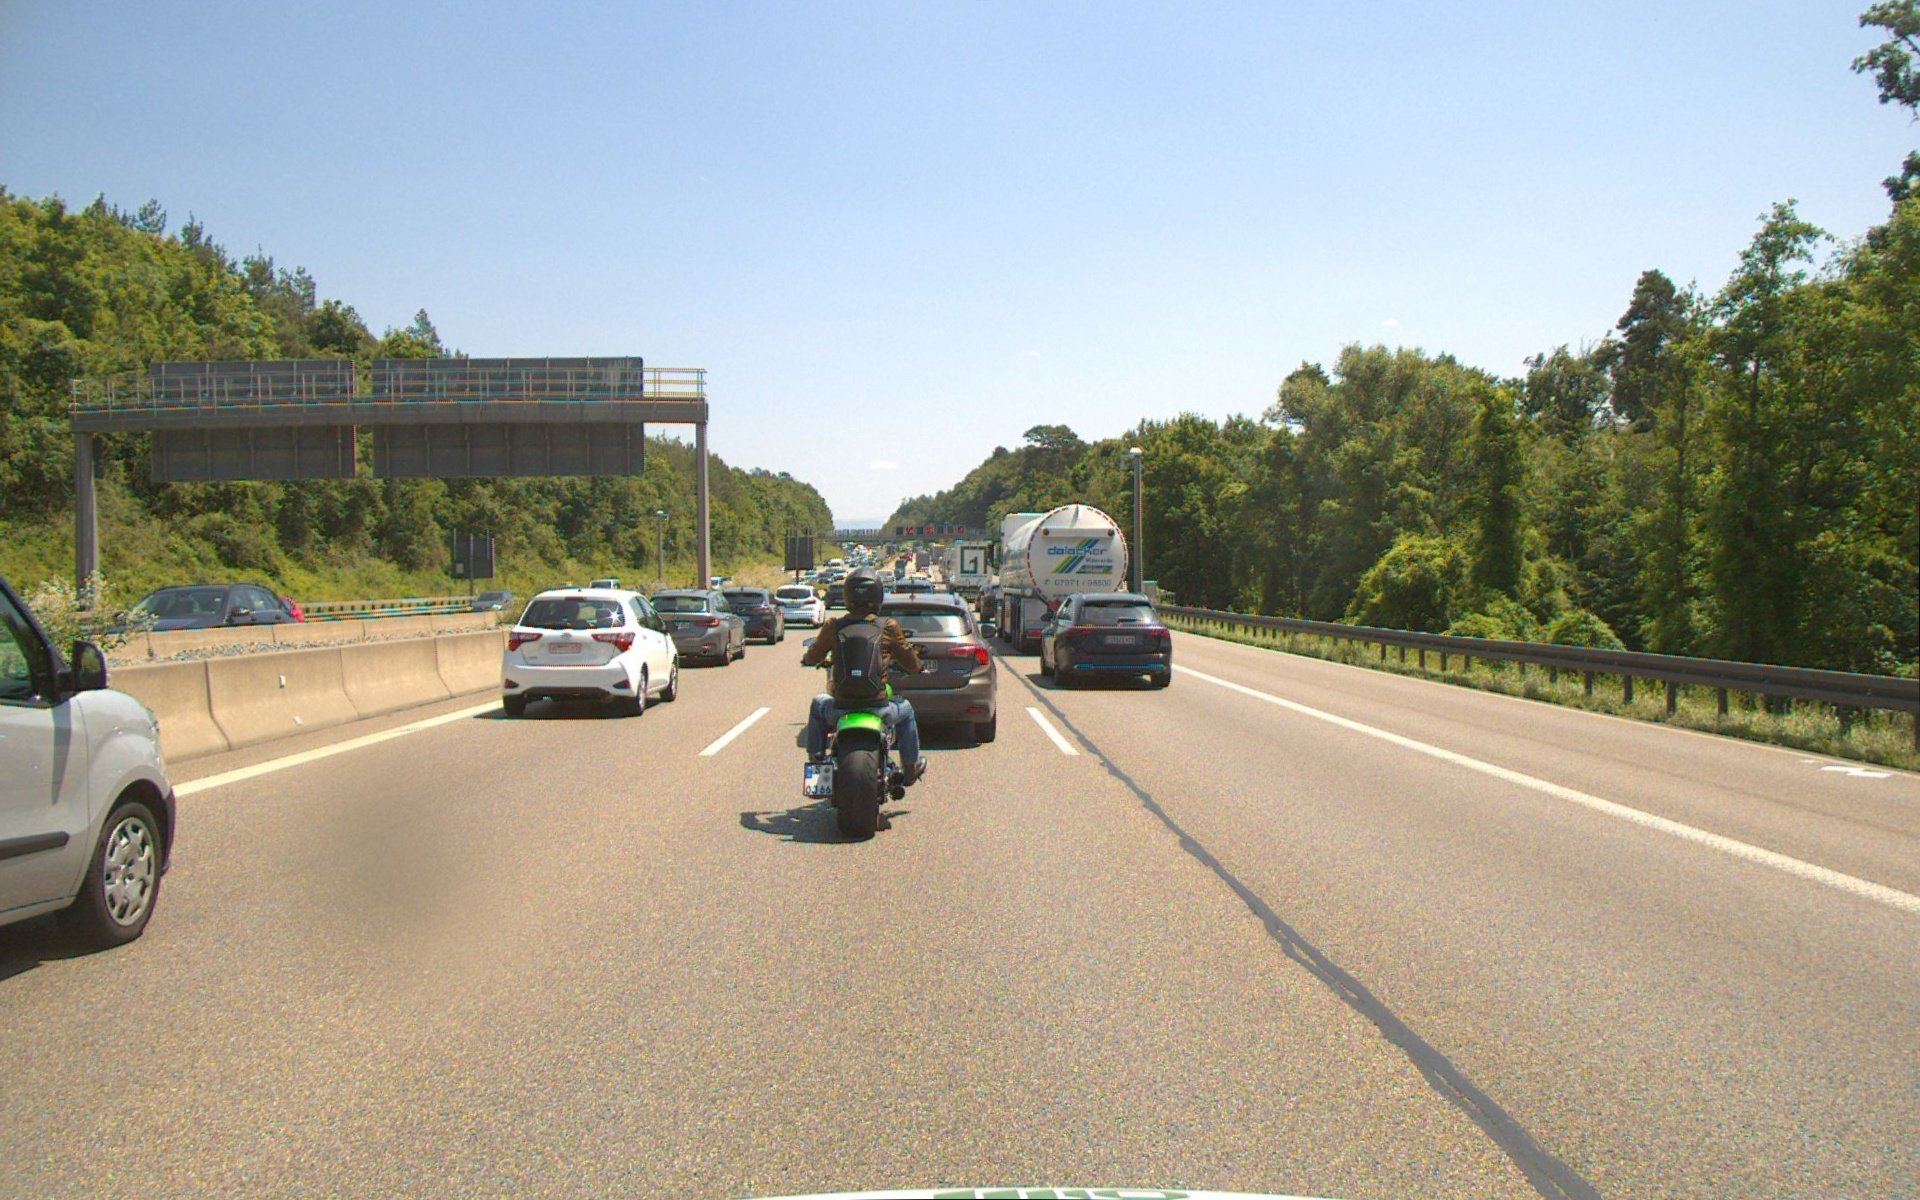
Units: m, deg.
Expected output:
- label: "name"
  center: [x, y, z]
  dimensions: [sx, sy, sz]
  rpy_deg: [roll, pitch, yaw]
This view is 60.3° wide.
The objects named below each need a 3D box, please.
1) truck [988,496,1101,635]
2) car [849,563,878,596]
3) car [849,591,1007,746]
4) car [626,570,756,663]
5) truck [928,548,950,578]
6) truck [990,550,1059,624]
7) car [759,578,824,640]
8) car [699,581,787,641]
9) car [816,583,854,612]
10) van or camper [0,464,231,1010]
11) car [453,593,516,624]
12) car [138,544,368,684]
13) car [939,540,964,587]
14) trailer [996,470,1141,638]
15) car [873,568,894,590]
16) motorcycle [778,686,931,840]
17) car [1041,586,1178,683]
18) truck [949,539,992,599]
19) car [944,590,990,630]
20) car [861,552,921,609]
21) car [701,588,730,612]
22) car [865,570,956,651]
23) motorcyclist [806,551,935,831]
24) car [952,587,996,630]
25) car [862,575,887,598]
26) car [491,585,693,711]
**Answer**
- label: "truck"
  center: [2.334, -0.891, 47.862]
  dimensions: [2.770, 3.735, 6.427]
  rpy_deg: [0, -1, -1]
- label: "car"
  center: [-6.009, -1.264, 103.014]
  dimensions: [1.627, 2.012, 3.999]
  rpy_deg: [0, 0, -1]
- label: "car"
  center: [-0.352, 0.654, 17.900]
  dimensions: [1.509, 1.475, 3.999]
  rpy_deg: [0, 0, -1]
- label: "car"
  center: [-5.262, 0.337, 32.881]
  dimensions: [1.953, 1.713, 4.328]
  rpy_deg: [0, -1, -1]
- label: "truck"
  center: [-2.607, -4.527, 205.623]
  dimensions: [2.642, 3.465, 10.475]
  rpy_deg: [-1, 0, -1]
- label: "truck"
  center: [2.743, -0.571, 72.401]
  dimensions: [2.340, 3.031, 8.249]
  rpy_deg: [0, 0, -2]
- label: "car"
  center: [-5.845, 0.324, 57.681]
  dimensions: [1.953, 2.049, 3.998]
  rpy_deg: [0, -1, -2]
- label: "car"
  center: [-5.675, 0.306, 43.626]
  dimensions: [1.954, 1.490, 3.997]
  rpy_deg: [1, -1, -3]
- label: "car"
  center: [-6.522, -0.117, 86.587]
  dimensions: [1.728, 1.467, 3.999]
  rpy_deg: [0, -1, -1]
- label: "van or camper"
  center: [-4.261, 0.473, 5.337]
  dimensions: [1.815, 1.913, 4.560]
  rpy_deg: [1, 0, -1]
- label: "car"
  center: [-23.304, 0.442, 81.180]
  dimensions: [1.953, 1.473, 3.999]
  rpy_deg: [0, -1, -1]
- label: "car"
  center: [-11.150, 0.234, 26.410]
  dimensions: [1.953, 2.049, 3.999]
  rpy_deg: [0, -1, 0]
- label: "car"
  center: [-0.830, -3.270, 150.212]
  dimensions: [2.123, 3.961, 9.327]
  rpy_deg: [0, -1, -1]
- label: "trailer"
  center: [2.550, -0.971, 42.507]
  dimensions: [2.770, 3.735, 10.729]
  rpy_deg: [0, -1, -1]
- label: "car"
  center: [-7.473, -2.044, 162.511]
  dimensions: [1.953, 2.049, 3.999]
  rpy_deg: [-1, 0, -1]
- label: "motorcycle"
  center: [-0.662, 1.047, 11.149]
  dimensions: [0.917, 0.807, 2.298]
  rpy_deg: [0, 0, -1]
- label: "car"
  center: [2.407, 0.554, 27.632]
  dimensions: [1.756, 1.484, 4.622]
  rpy_deg: [0, -1, -1]
- label: "truck"
  center: [0.798, -2.066, 113.485]
  dimensions: [2.794, 3.888, 7.188]
  rpy_deg: [0, -1, 1]
- label: "car"
  center: [0.237, 0.402, 66.693]
  dimensions: [1.740, 1.554, 3.999]
  rpy_deg: [0, -1, -1]
- label: "car"
  center: [-2.338, -0.630, 56.156]
  dimensions: [1.953, 1.806, 3.998]
  rpy_deg: [0, -1, -2]
- label: "car"
  center: [-21.891, 0.015, 148.133]
  dimensions: [1.953, 2.049, 4.472]
  rpy_deg: [0, -1, -1]
- label: "car"
  center: [-1.141, 0.256, 37.840]
  dimensions: [1.953, 1.741, 3.998]
  rpy_deg: [0, -1, -2]
- label: "motorcyclist"
  center: [-0.562, 0.566, 10.713]
  dimensions: [0.782, 1.717, 1.016]
  rpy_deg: [0, -1, -1]
- label: "car"
  center: [0.671, 0.437, 82.782]
  dimensions: [1.954, 2.049, 3.997]
  rpy_deg: [0, -1, -3]
- label: "car"
  center: [-6.025, -0.939, 116.657]
  dimensions: [1.627, 1.627, 3.999]
  rpy_deg: [0, 0, -1]
- label: "car"
  center: [-4.560, 0.580, 21.034]
  dimensions: [1.740, 1.435, 3.999]
  rpy_deg: [0, -1, -1]
